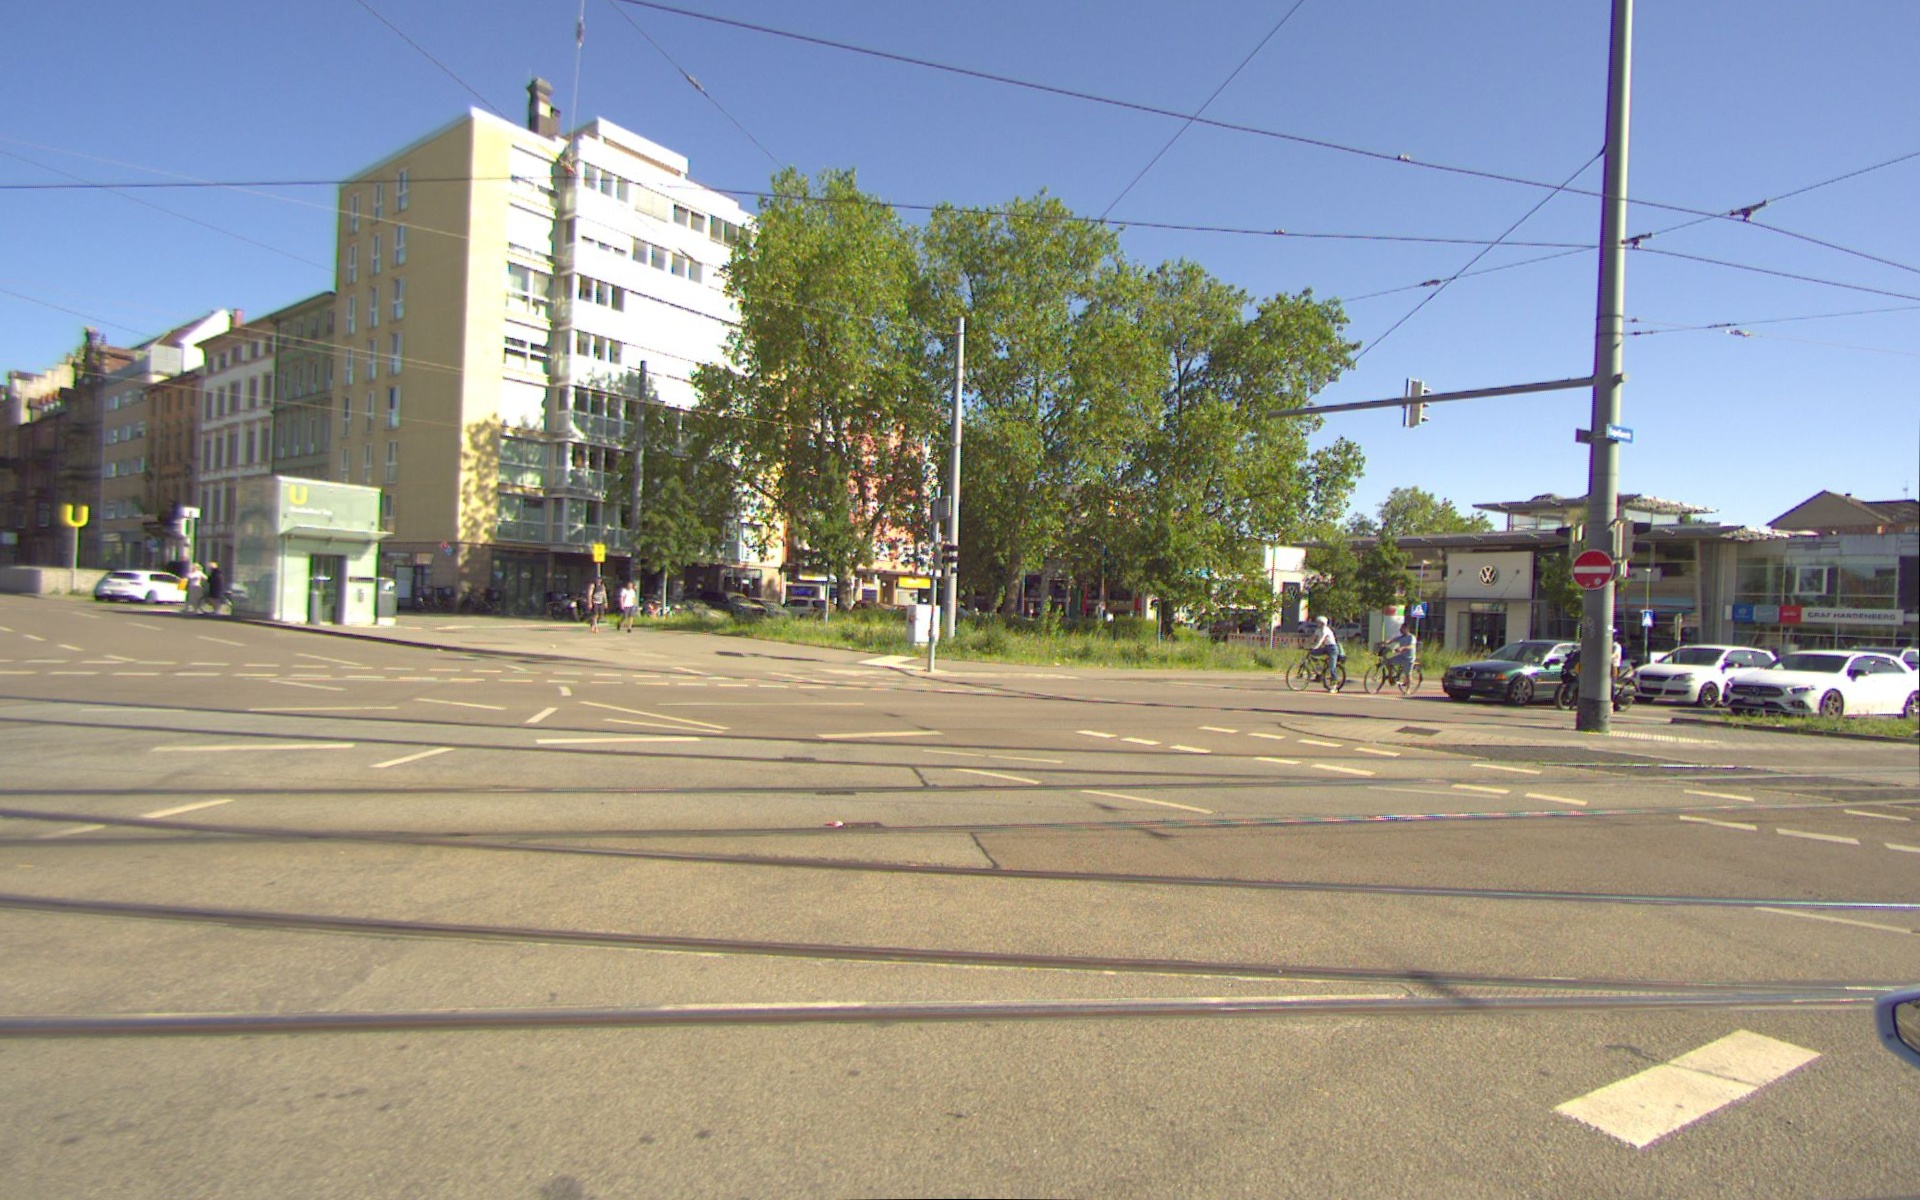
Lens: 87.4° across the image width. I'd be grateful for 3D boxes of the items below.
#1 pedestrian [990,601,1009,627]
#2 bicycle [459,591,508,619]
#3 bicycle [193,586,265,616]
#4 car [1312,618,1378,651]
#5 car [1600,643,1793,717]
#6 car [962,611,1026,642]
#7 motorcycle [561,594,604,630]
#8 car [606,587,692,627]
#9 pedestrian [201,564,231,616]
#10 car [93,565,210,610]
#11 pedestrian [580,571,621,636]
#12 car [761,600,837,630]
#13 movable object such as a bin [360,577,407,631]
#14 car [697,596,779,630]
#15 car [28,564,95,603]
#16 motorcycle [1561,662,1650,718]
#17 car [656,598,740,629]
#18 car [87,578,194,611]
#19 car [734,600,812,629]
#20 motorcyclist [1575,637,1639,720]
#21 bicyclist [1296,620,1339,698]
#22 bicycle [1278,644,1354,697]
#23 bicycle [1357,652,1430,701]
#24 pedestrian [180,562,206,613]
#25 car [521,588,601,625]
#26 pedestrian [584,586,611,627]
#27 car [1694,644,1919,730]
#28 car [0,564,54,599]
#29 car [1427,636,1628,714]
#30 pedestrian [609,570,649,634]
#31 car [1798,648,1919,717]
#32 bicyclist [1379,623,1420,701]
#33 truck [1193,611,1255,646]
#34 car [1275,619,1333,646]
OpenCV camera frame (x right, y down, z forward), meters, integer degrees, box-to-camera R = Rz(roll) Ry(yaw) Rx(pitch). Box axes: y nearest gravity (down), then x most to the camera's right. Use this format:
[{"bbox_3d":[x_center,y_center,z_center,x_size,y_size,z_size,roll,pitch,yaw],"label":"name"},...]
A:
[{"bbox_3d":[3.257,1.150,82.920,1.088,2.040,1.176,4,1,29],"label":"pedestrian"},{"bbox_3d":[-22.345,0.233,47.142,0.609,1.232,1.940,5,1,38],"label":"bicycle"},{"bbox_3d":[-25.570,0.027,35.170,1.935,0.934,0.612,3,1,-44],"label":"bicycle"},{"bbox_3d":[28.005,2.469,73.107,1.984,2.040,3.953,3,1,-40],"label":"car"},{"bbox_3d":[17.718,1.914,24.186,3.940,1.451,1.800,4,1,-20],"label":"car"},{"bbox_3d":[2.142,1.689,64.069,1.985,1.652,3.811,5,-2,-41],"label":"car"},{"bbox_3d":[-15.006,0.461,39.869,1.274,1.193,2.949,4,1,-26],"label":"motorcycle"},{"bbox_3d":[-15.521,0.351,50.150,3.930,1.830,1.995,3,0,32],"label":"car"},{"bbox_3d":[-25.474,-0.351,34.373,0.711,1.728,0.607,3,1,-42],"label":"pedestrian"},{"bbox_3d":[-35.913,-0.561,44.771,1.961,1.775,3.999,4,1,-1],"label":"car"},{"bbox_3d":[-11.718,0.119,32.767,0.845,2.057,0.864,5,1,44],"label":"pedestrian"},{"bbox_3d":[-9.255,0.833,57.803,3.930,1.519,1.995,3,0,32],"label":"car"},{"bbox_3d":[-18.752,0.133,32.669,0.975,1.656,0.934,5,1,36],"label":"movable object such as a bin"},{"bbox_3d":[-11.820,0.700,53.436,3.931,1.585,1.995,3,0,32],"label":"car"},{"bbox_3d":[-46.051,-0.851,51.470,3.940,1.687,1.991,5,1,40],"label":"car"},{"bbox_3d":[12.902,1.795,20.068,1.720,1.061,0.518,3,-1,-19],"label":"motorcycle"},{"bbox_3d":[-13.413,0.699,51.418,3.931,1.407,1.995,3,0,32],"label":"car"},{"bbox_3d":[-38.649,-0.266,47.496,1.782,1.378,3.999,4,1,-1],"label":"car"},{"bbox_3d":[-10.397,0.814,55.816,3.931,1.407,1.995,3,0,32],"label":"car"},{"bbox_3d":[12.986,1.571,20.171,0.929,1.600,0.584,4,-1,-19],"label":"motorcyclist"},{"bbox_3d":[8.405,1.379,23.637,0.667,1.766,0.573,2,2,-19],"label":"bicyclist"},{"bbox_3d":[8.373,1.662,23.639,1.727,1.199,0.537,2,0,-20],"label":"bicycle"},{"bbox_3d":[10.164,1.789,23.523,1.630,1.088,0.537,2,0,-20],"label":"bicycle"},{"bbox_3d":[-26.756,-0.434,35.018,0.610,1.728,0.708,3,1,-41],"label":"pedestrian"},{"bbox_3d":[-18.668,0.298,46.935,3.939,1.519,1.735,3,0,40],"label":"car"},{"bbox_3d":[-15.112,0.258,41.863,0.744,1.642,0.653,4,1,18],"label":"pedestrian"},{"bbox_3d":[17.904,1.815,21.059,4.472,1.451,1.800,4,1,-20],"label":"car"},{"bbox_3d":[-52.599,-1.077,56.409,3.940,1.687,1.991,5,1,40],"label":"car"},{"bbox_3d":[12.373,1.634,21.910,3.911,1.498,1.648,3,-2,-20],"label":"car"},{"bbox_3d":[-11.031,0.063,33.503,0.845,2.057,0.864,5,1,44],"label":"pedestrian"},{"bbox_3d":[24.405,2.202,26.425,4.102,1.599,1.800,4,-1,-20],"label":"car"},{"bbox_3d":[10.285,1.451,23.522,0.592,1.766,0.573,1,2,-20],"label":"bicyclist"},{"bbox_3d":[20.161,2.161,76.798,1.980,2.250,4.176,3,1,-34],"label":"truck"},{"bbox_3d":[27.101,2.560,79.264,1.977,1.780,3.967,3,1,-30],"label":"car"}]
